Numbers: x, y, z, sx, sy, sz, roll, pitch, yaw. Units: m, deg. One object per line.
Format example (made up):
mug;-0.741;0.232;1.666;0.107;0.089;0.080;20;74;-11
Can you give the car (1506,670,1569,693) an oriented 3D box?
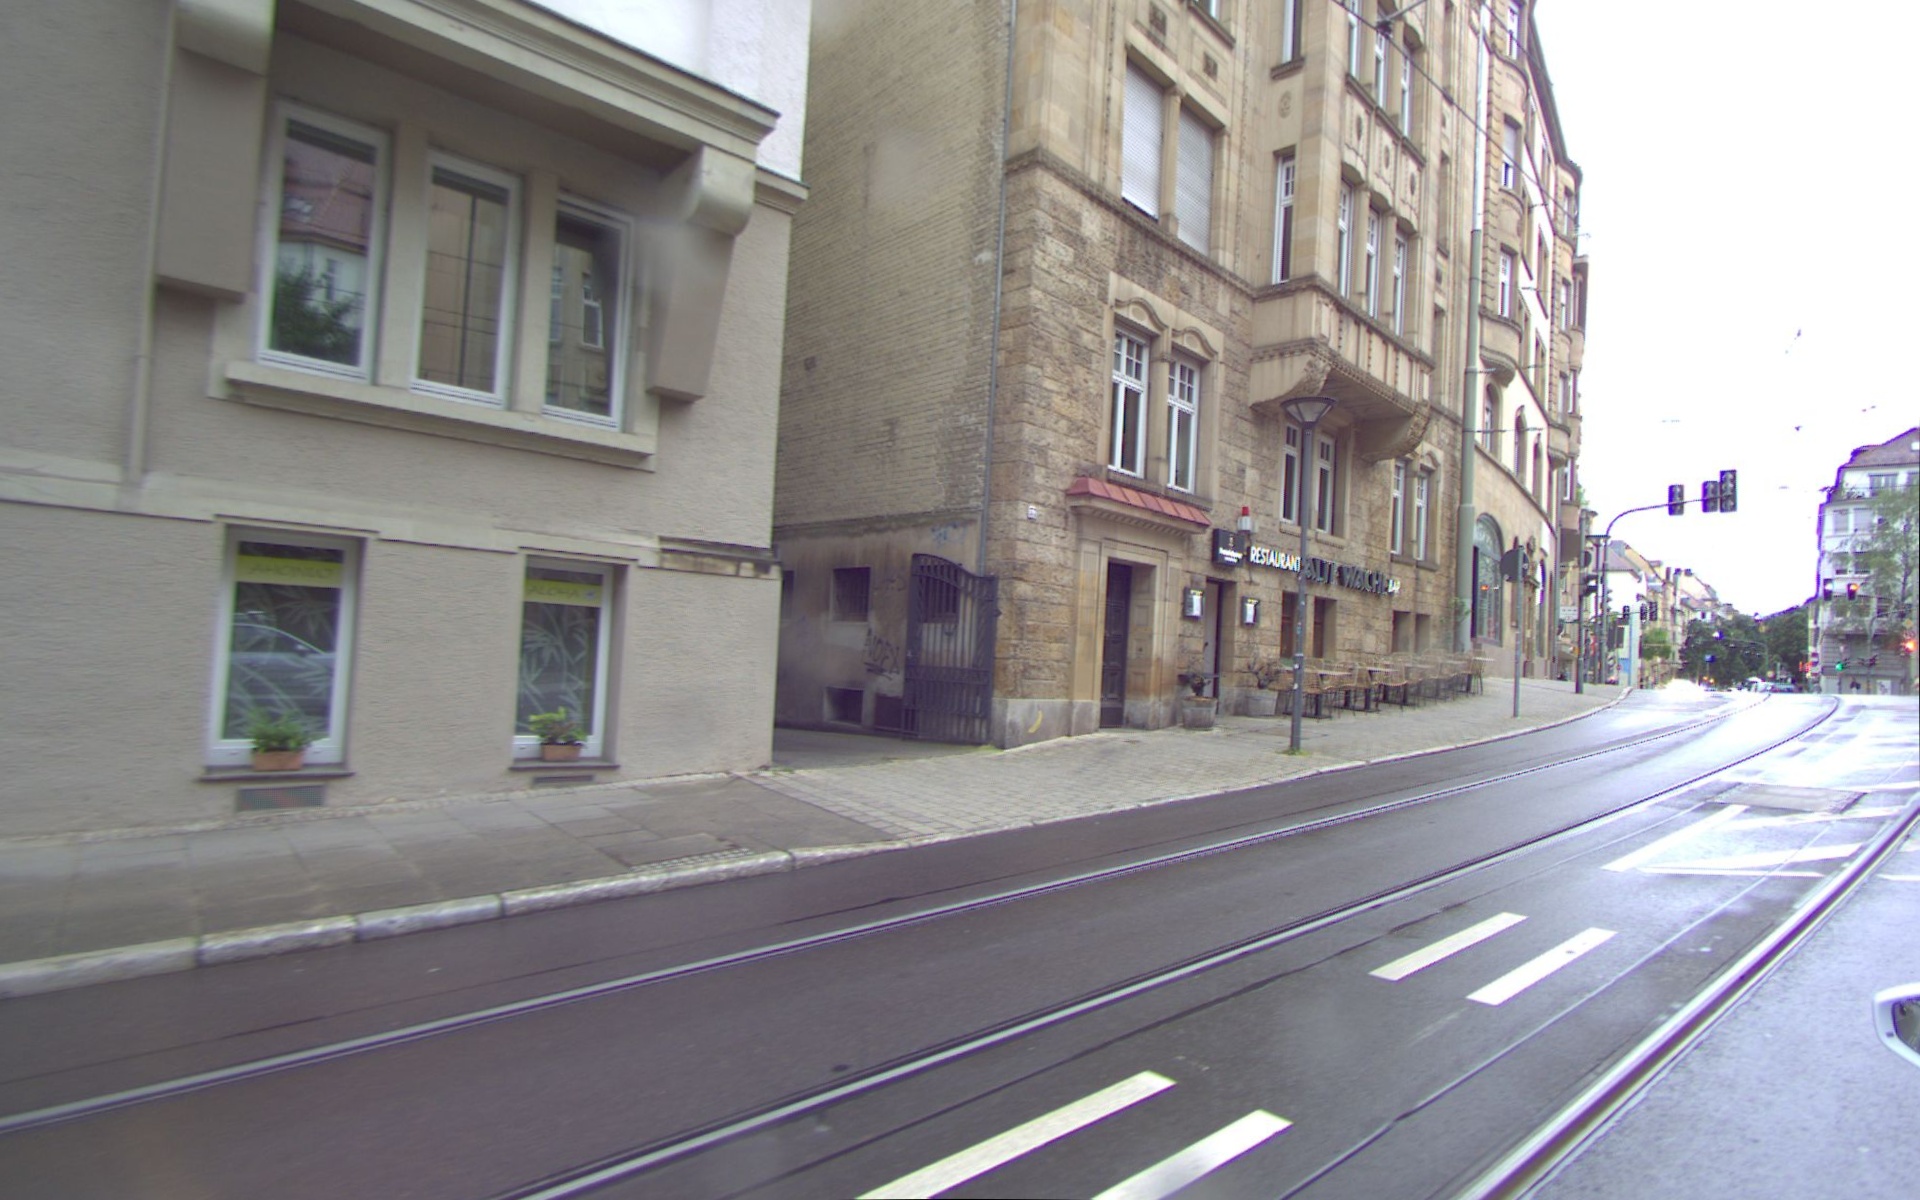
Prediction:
car;43.275;6.065;75.291;3.933;1.530;1.795;-1;-2;34

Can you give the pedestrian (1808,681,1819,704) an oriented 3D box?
pedestrian;66.882;7.251;78.699;0.640;1.683;0.647;0;-1;41

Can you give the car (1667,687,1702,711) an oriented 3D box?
car;55.587;7.553;77.127;1.768;1.530;4.656;-1;-2;31
